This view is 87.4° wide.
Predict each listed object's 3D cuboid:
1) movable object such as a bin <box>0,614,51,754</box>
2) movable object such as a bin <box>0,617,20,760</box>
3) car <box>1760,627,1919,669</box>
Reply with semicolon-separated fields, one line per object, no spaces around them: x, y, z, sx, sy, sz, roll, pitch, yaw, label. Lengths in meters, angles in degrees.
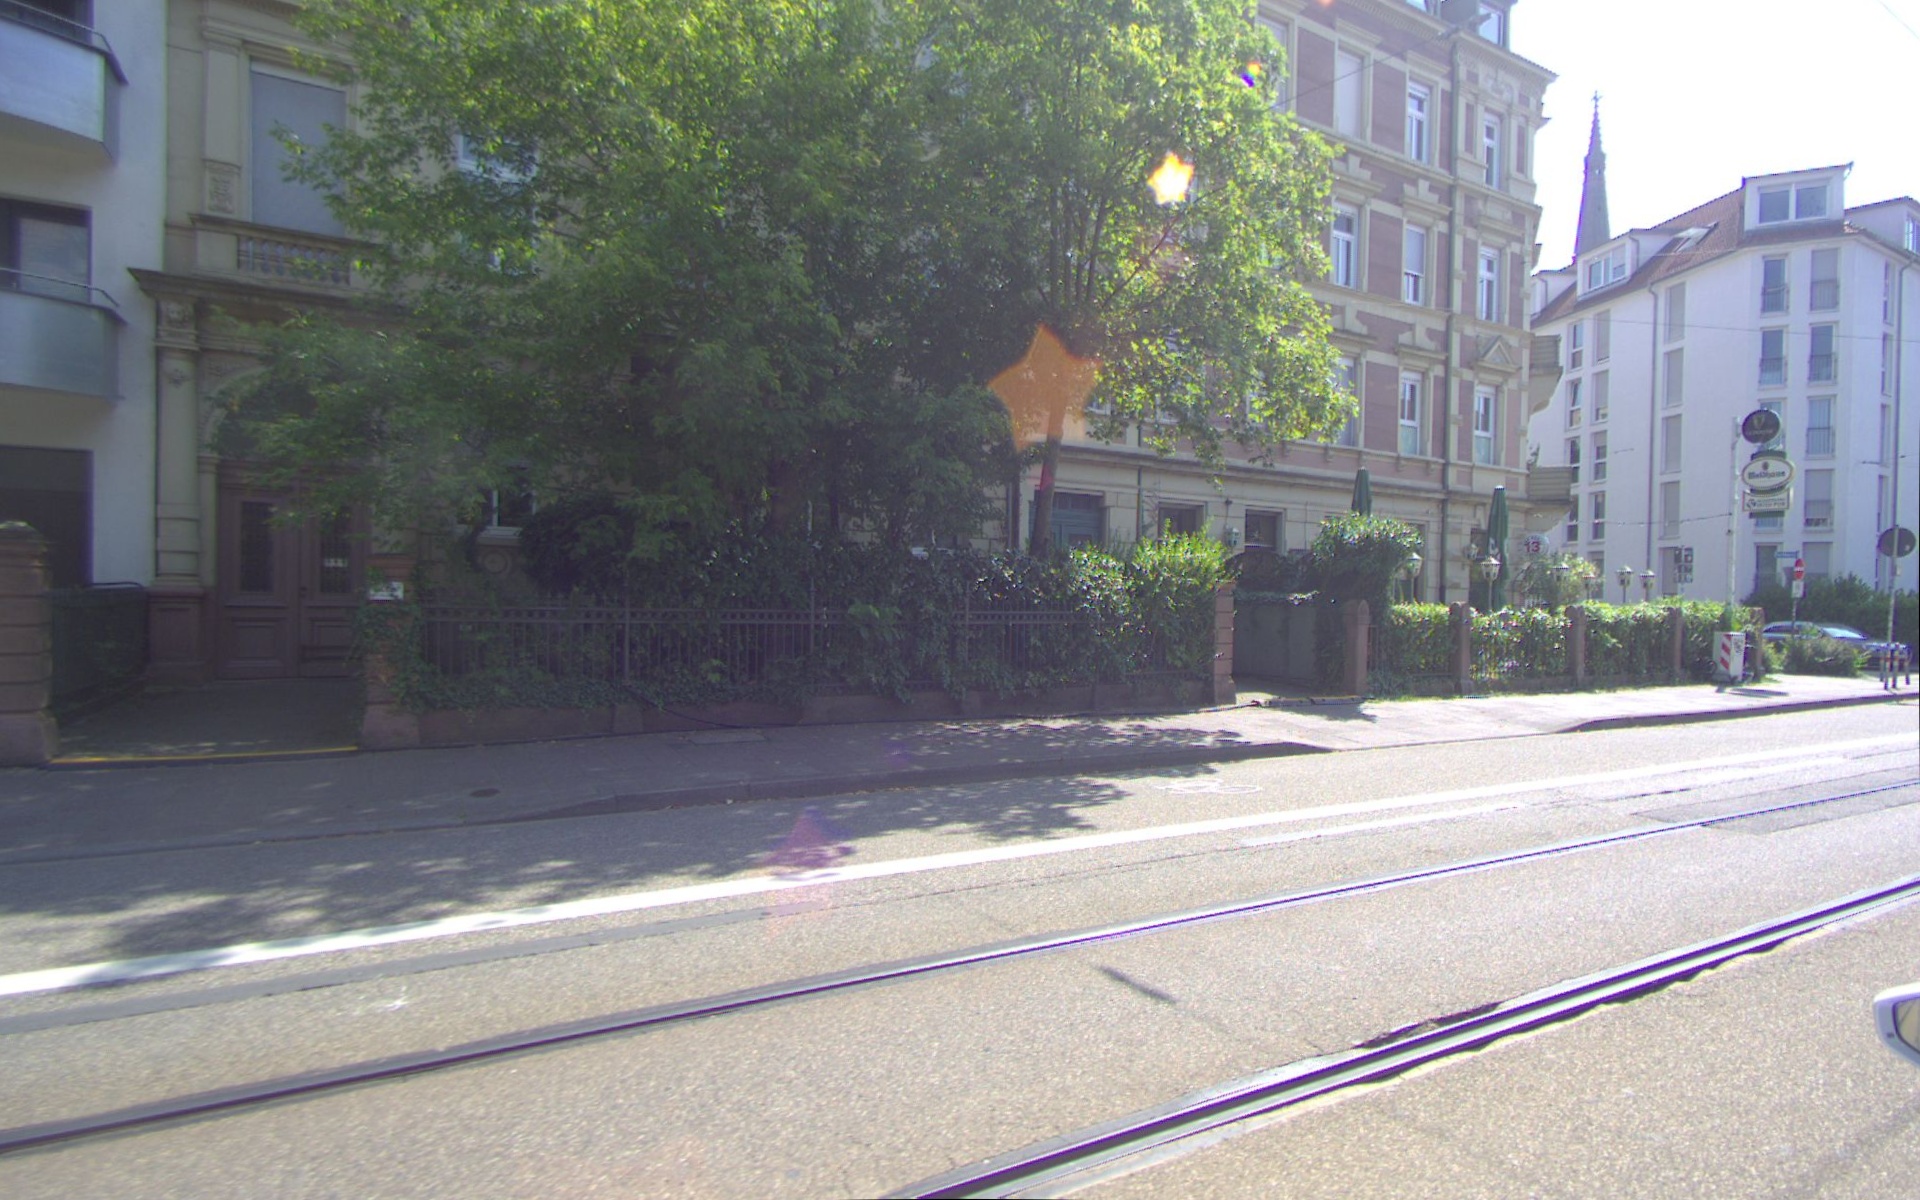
-8.179;0.680;8.307;0.793;1.090;0.783;1;1;-27;movable object such as a bin
-7.762;0.689;7.564;0.793;1.090;0.783;1;1;-27;movable object such as a bin
28.025;1.473;31.615;1.964;1.200;4.237;1;-1;-9;car
